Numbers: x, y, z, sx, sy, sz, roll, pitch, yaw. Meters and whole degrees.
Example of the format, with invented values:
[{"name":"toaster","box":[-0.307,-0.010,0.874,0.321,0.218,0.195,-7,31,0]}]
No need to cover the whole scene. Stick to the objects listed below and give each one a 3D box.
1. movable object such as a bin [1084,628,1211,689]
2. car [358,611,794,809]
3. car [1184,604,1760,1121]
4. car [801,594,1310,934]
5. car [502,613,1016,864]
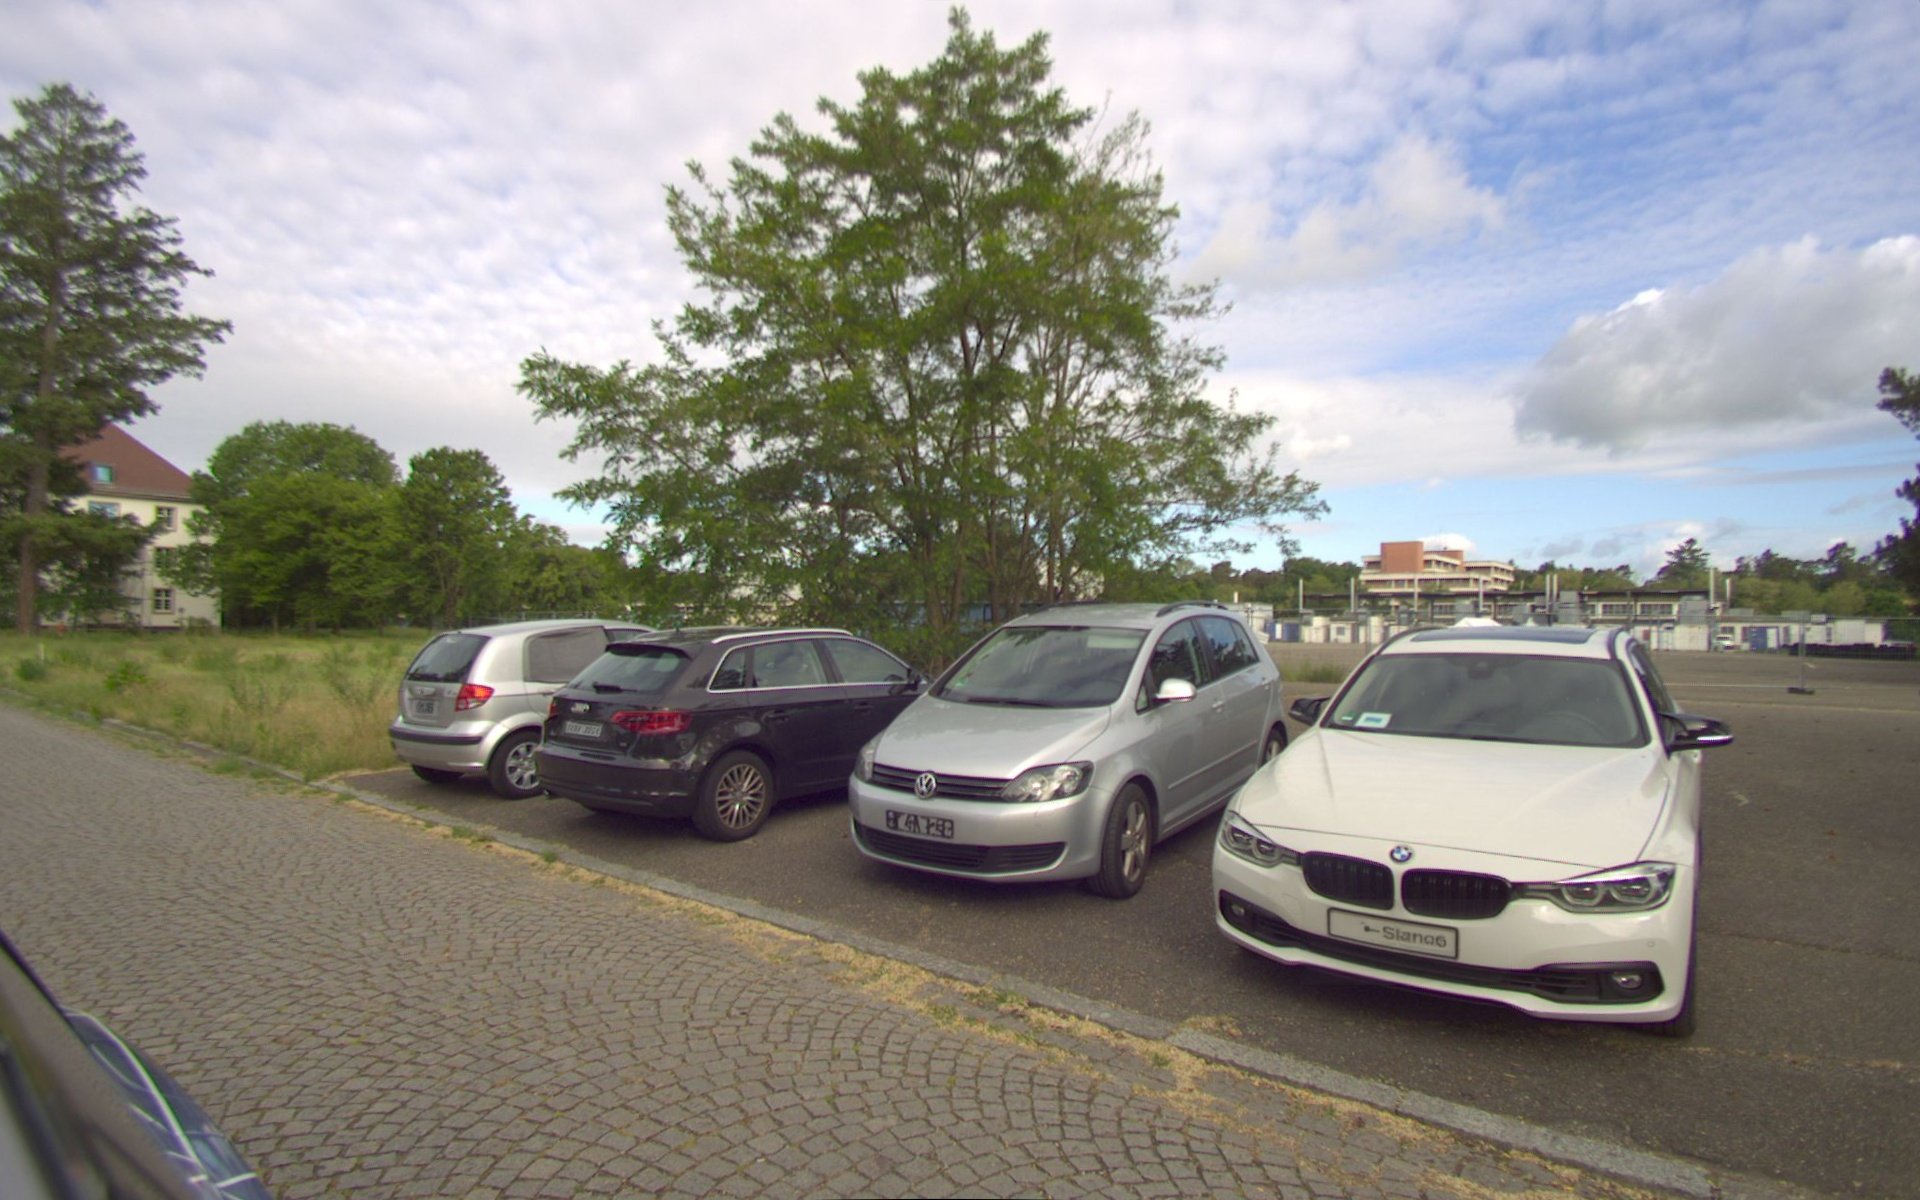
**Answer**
[{"name":"movable object such as a bin","box":[3.885,1.172,20.846,1.501,1.170,2.364,-1,-2,45]},{"name":"car","box":[-3.576,0.895,9.976,1.804,1.463,3.646,-1,0,35]},{"name":"car","box":[2.972,0.794,5.401,1.798,1.454,4.606,-1,0,36]},{"name":"car","box":[0.932,0.772,6.879,1.720,1.559,3.953,-1,0,35]},{"name":"car","box":[-1.397,0.874,8.301,1.749,1.438,3.948,-1,0,38]}]
